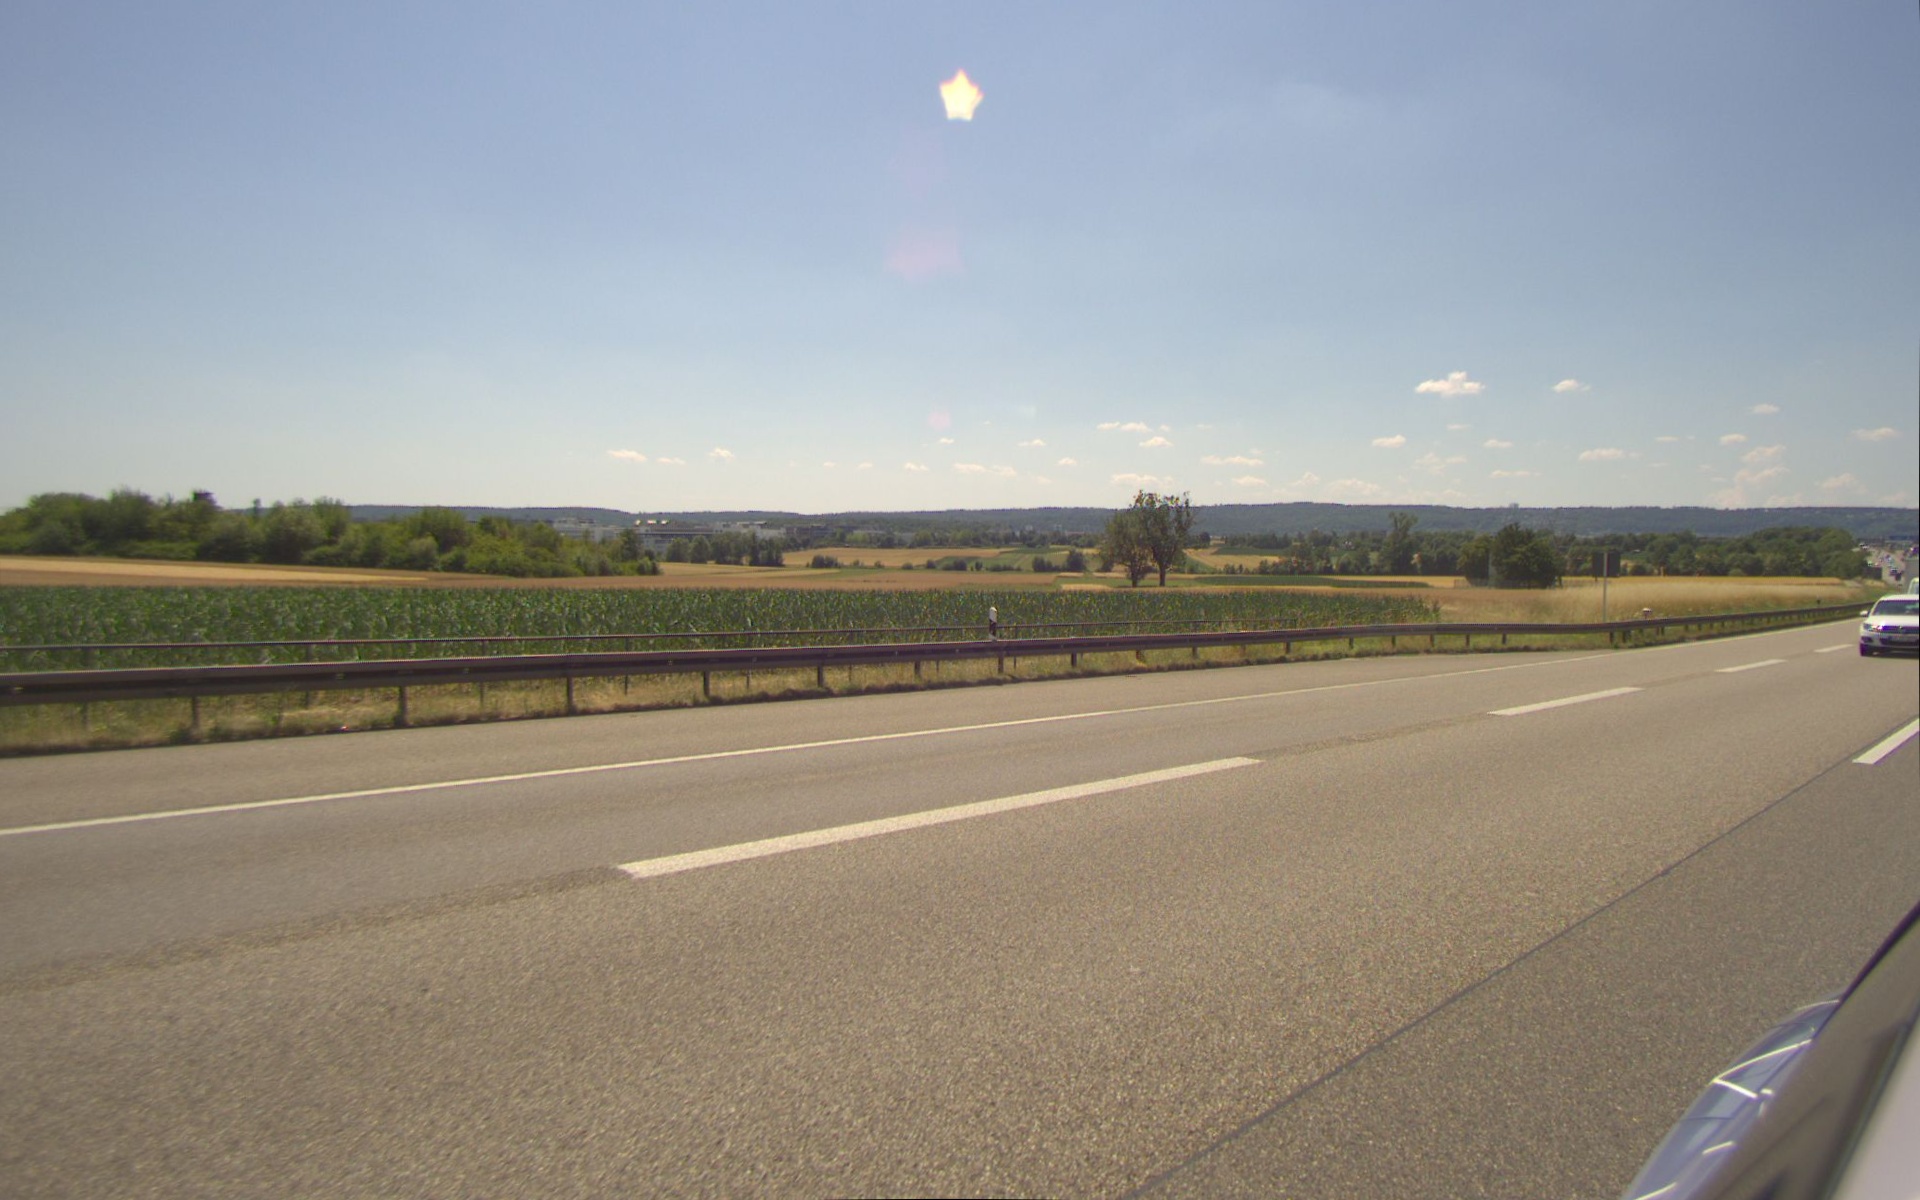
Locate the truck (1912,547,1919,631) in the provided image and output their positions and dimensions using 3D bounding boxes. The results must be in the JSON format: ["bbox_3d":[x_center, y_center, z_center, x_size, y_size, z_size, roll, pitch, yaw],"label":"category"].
[{"bbox_3d":[38.233,-0.466,38.748,2.439,3.066,6.806,0,1,45],"label":"truck"}]

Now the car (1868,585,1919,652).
[{"bbox_3d":[25.514,0.434,26.786,4.102,1.666,1.834,-1,1,-43],"label":"car"}]
